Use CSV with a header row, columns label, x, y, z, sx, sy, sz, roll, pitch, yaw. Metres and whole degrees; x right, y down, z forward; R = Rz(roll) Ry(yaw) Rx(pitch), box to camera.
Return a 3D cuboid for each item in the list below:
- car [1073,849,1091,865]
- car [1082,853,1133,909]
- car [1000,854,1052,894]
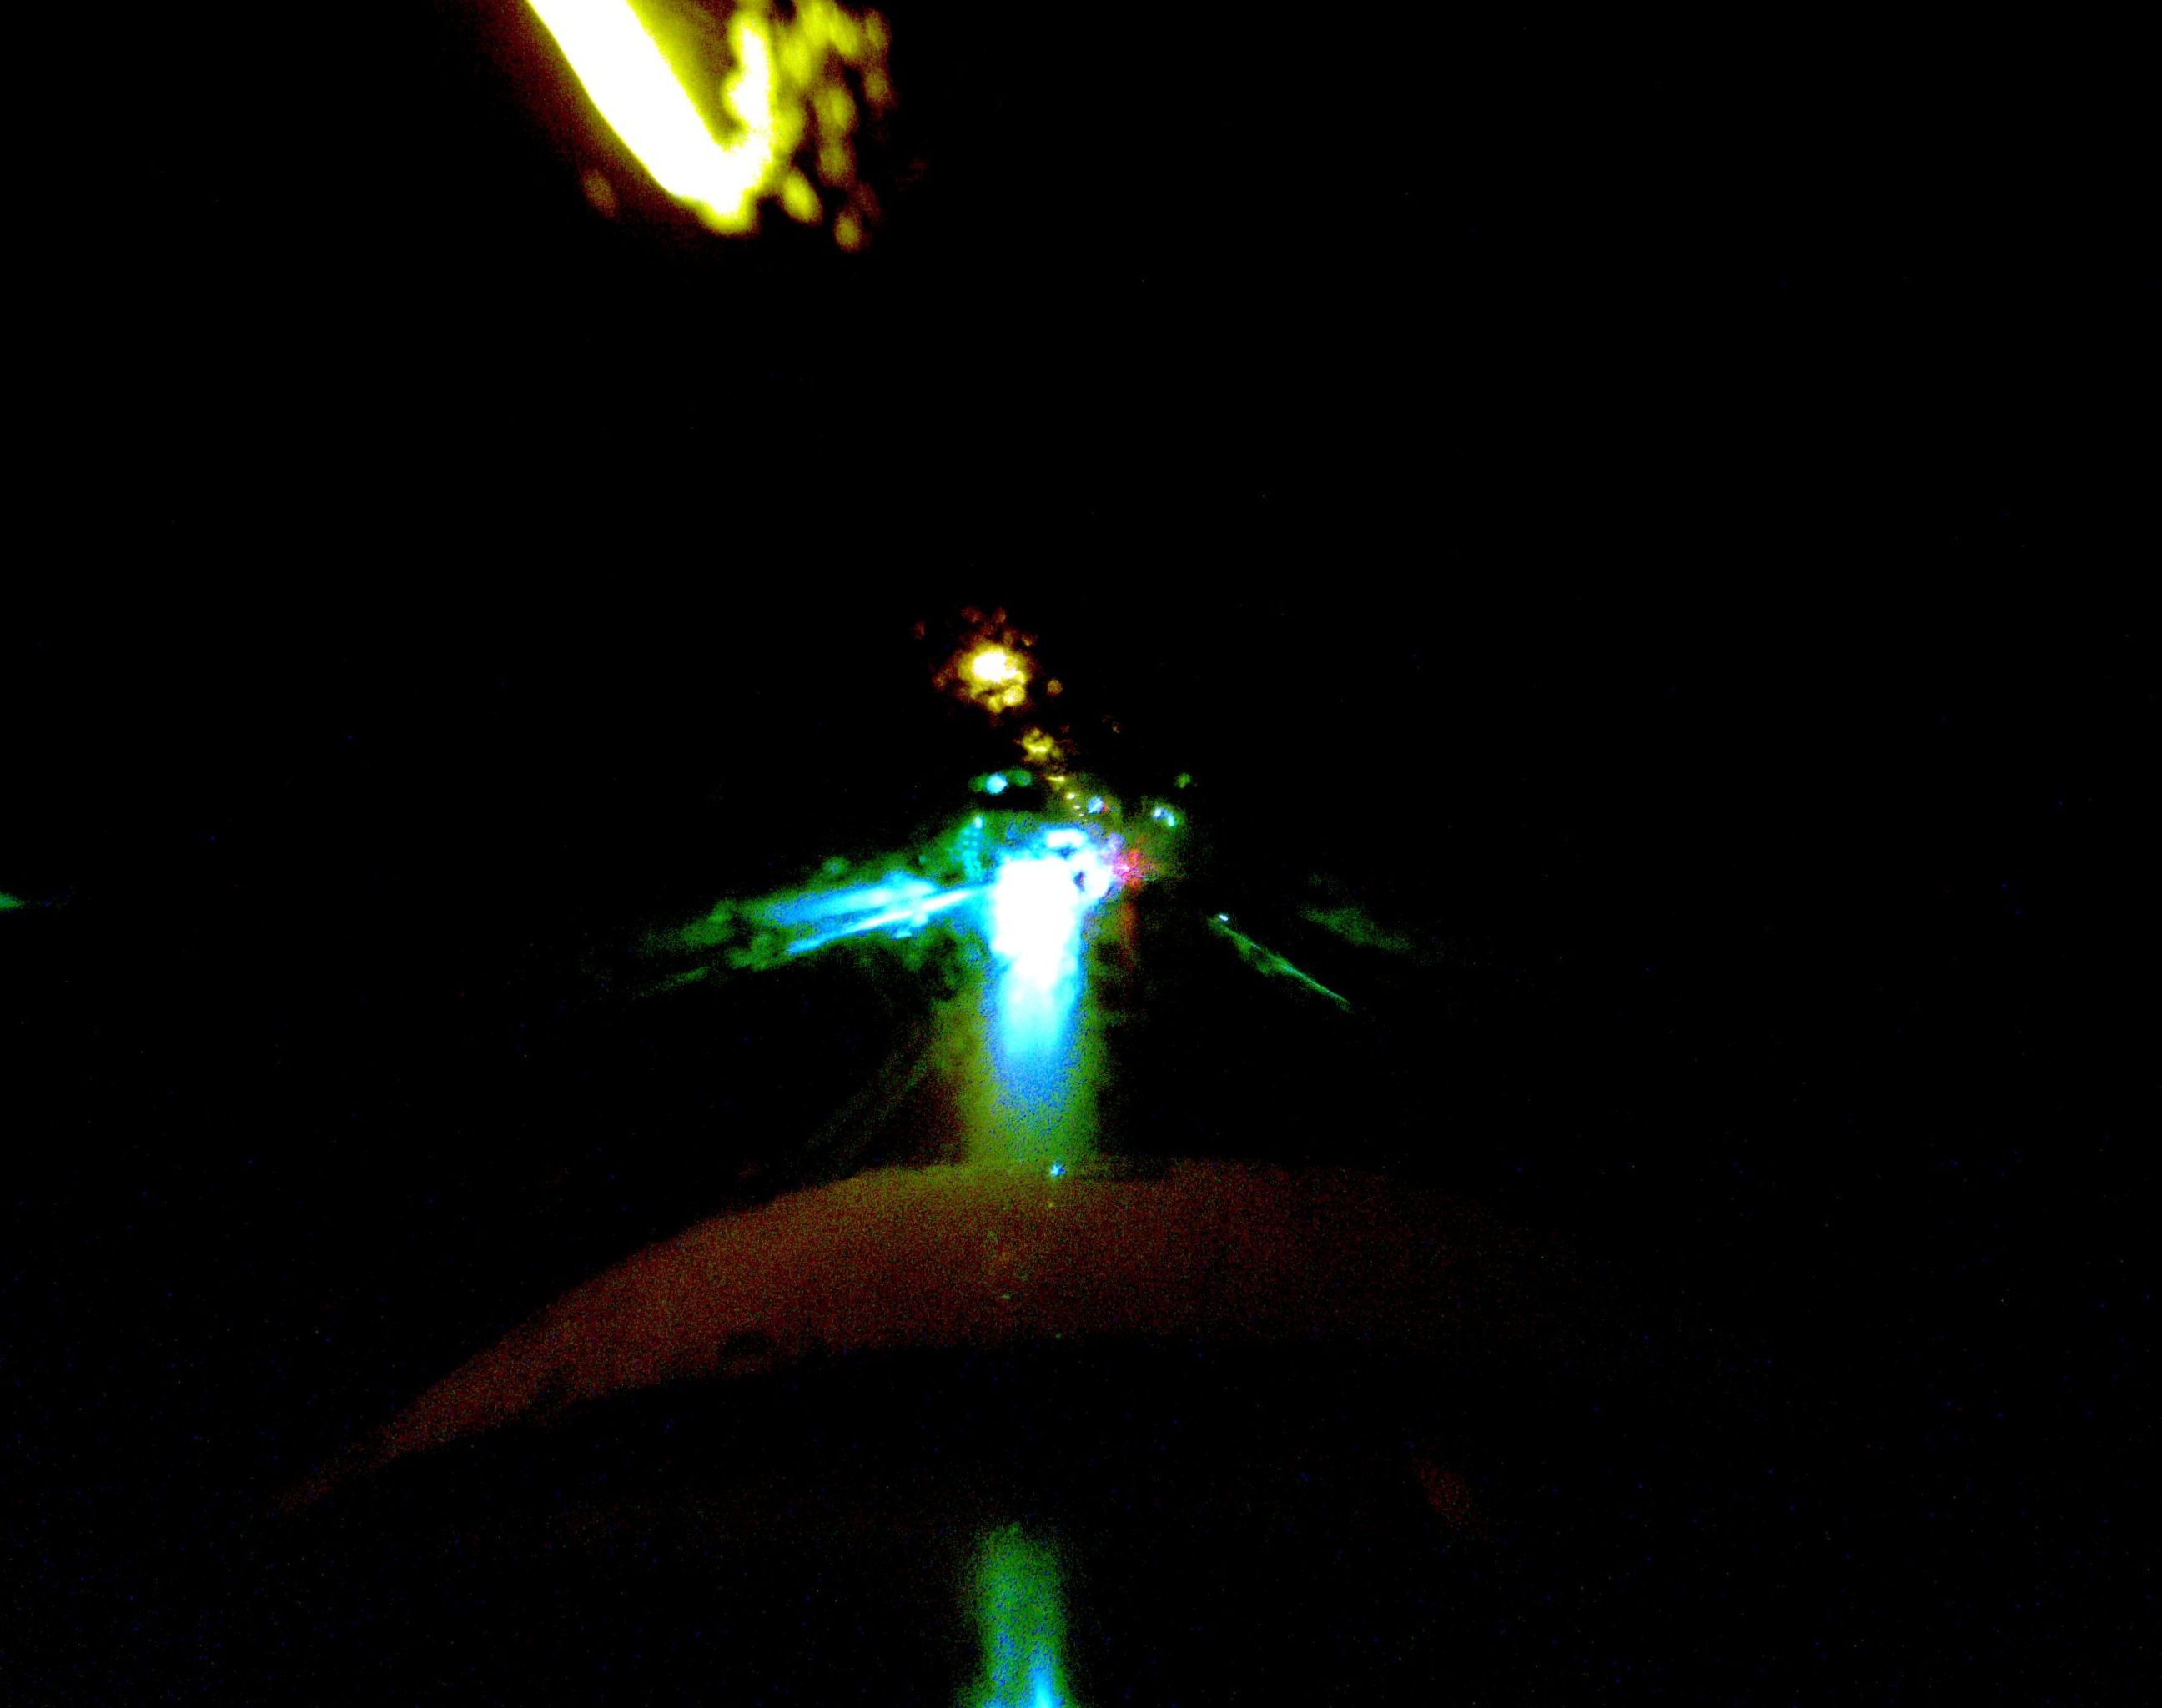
label,x,y,z,sx,sy,sz,roll,pitch,yaw
car,0.101,0.411,108.854,2.205,2.013,3.998,-2,1,-1
car,0.986,0.888,28.809,1.628,1.757,4.149,-2,1,3
car,-2.191,0.778,33.570,1.771,1.408,4.294,-2,1,0
